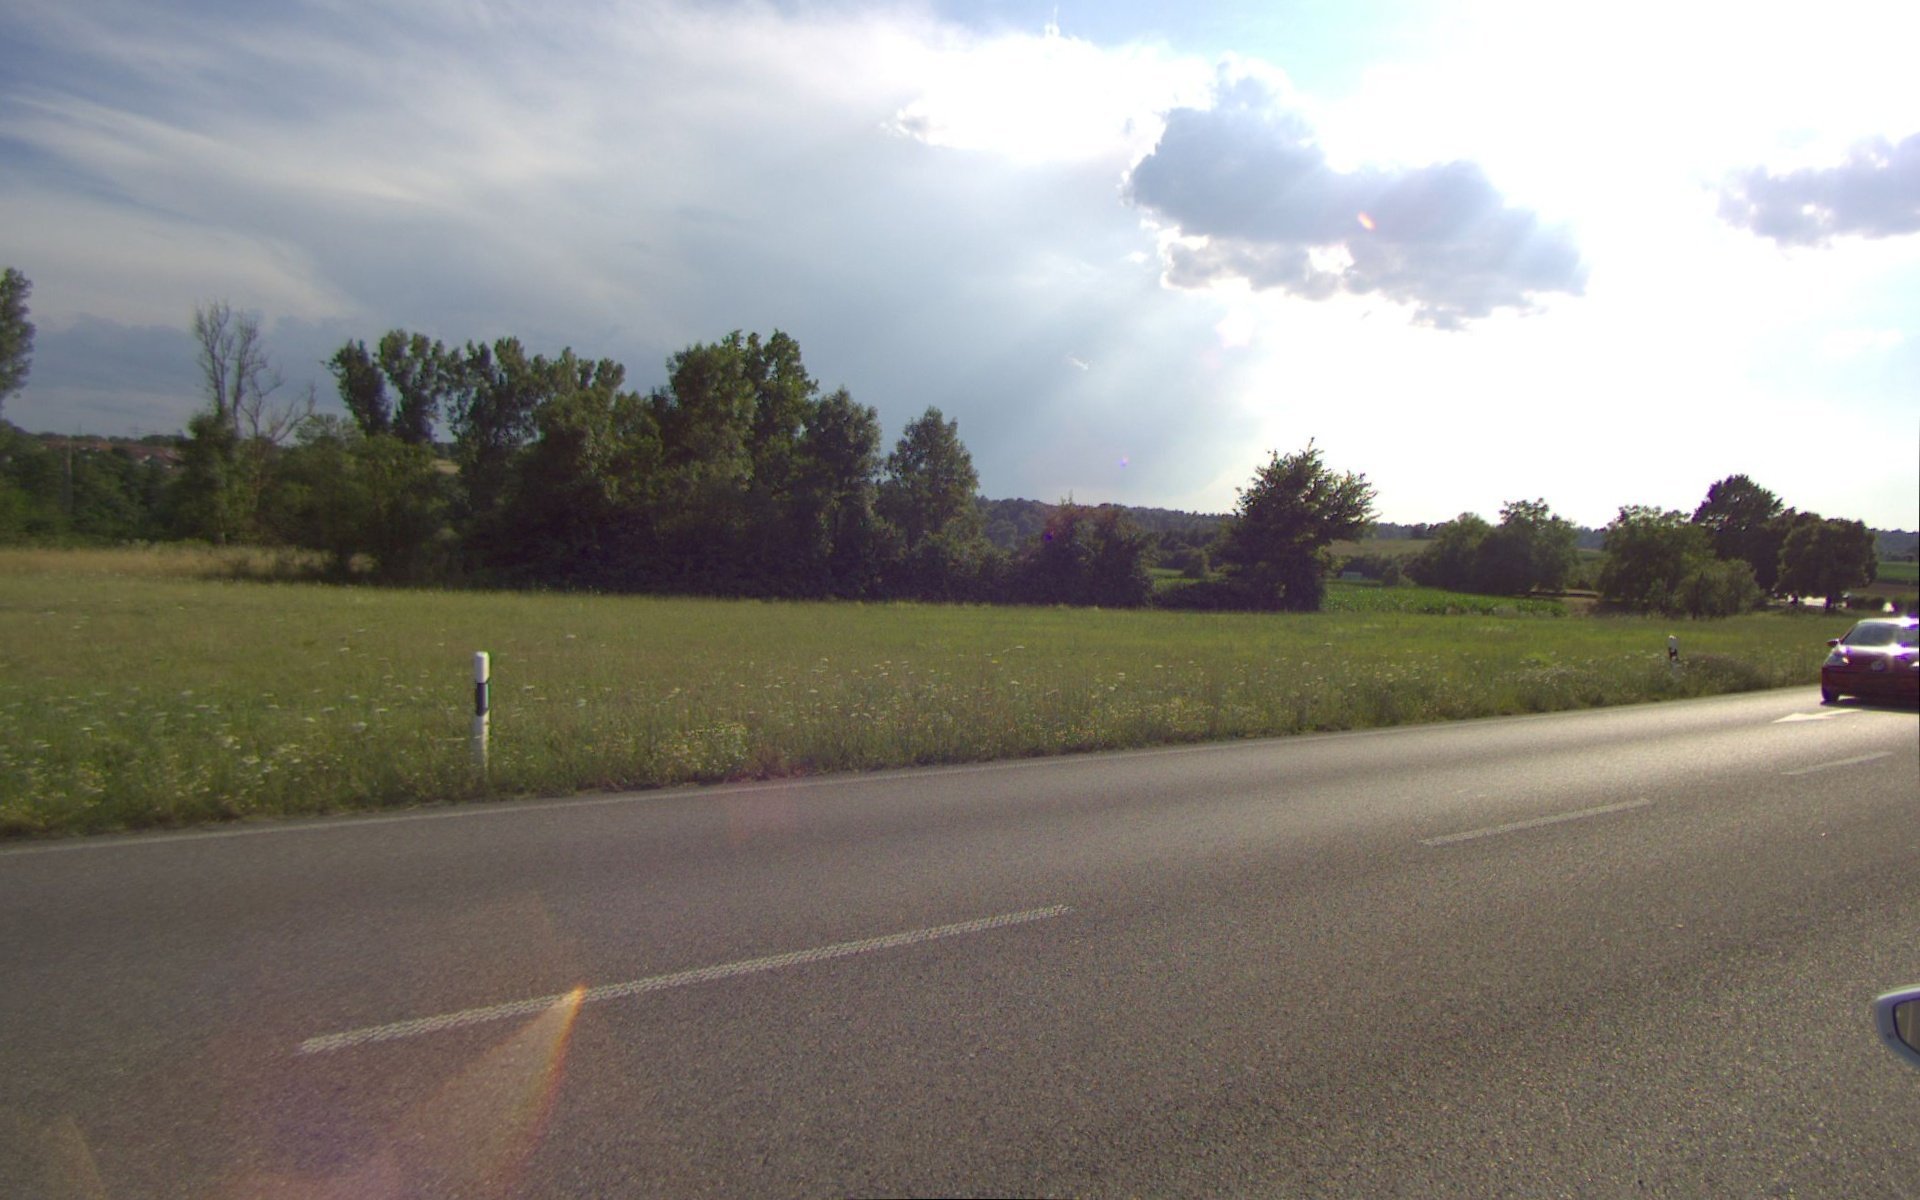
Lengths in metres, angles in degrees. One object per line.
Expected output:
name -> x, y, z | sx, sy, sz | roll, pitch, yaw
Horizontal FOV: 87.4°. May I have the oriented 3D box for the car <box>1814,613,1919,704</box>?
car -> 16.733, 0.982, 17.857 | 3.572, 1.486, 1.575 | 1, -1, -36
